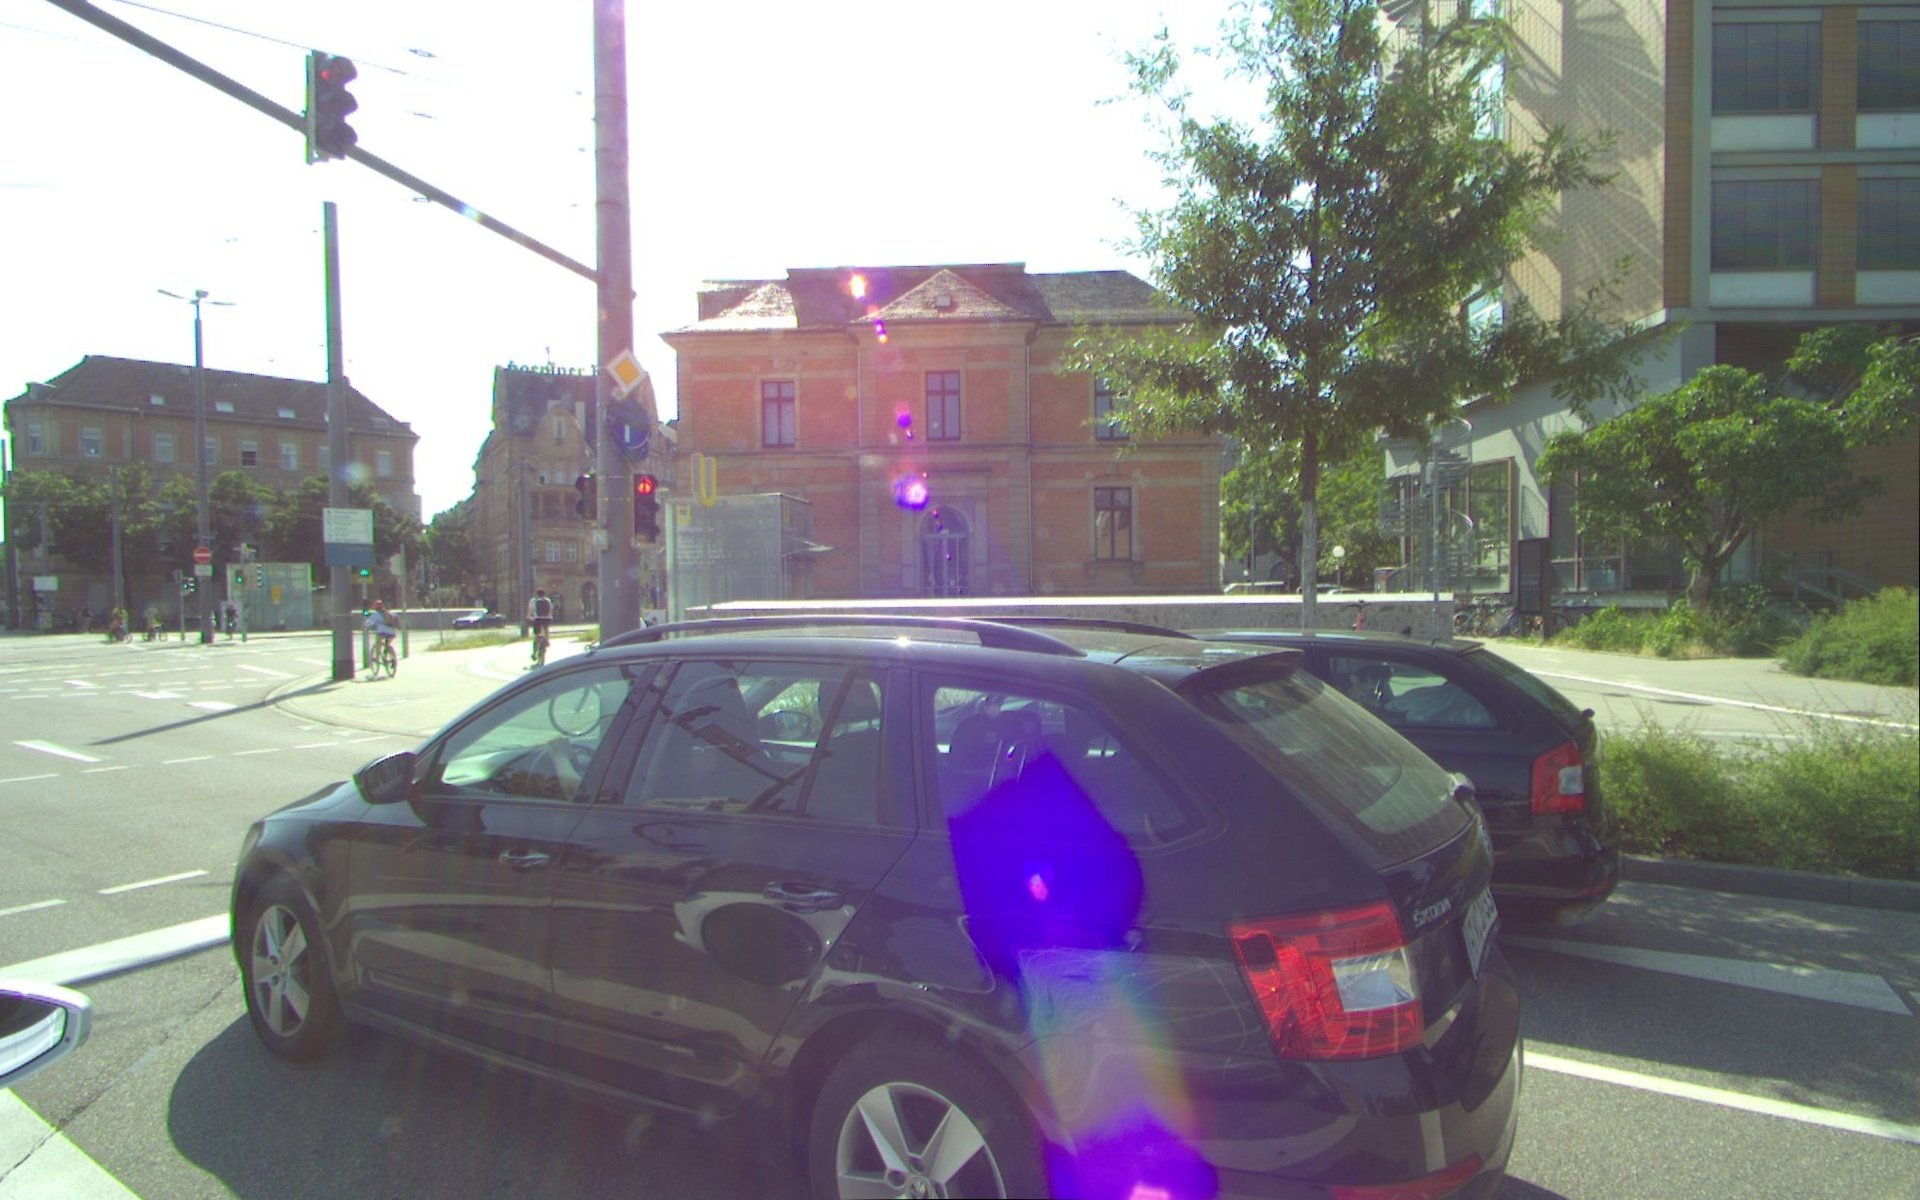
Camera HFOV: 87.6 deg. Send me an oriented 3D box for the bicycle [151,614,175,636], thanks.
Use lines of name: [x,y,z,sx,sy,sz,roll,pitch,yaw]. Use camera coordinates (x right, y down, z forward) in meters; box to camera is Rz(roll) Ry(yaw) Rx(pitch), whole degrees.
bicycle: [-40.774,1.294,51.274,0.919,1.083,2.819,1,-1,-38]

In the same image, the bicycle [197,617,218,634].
bicycle: [-40.063,1.338,53.288,1.567,0.877,0.498,0,-1,38]

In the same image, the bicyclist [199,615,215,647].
bicyclist: [-40.058,1.650,53.271,0.641,1.642,0.498,0,-1,38]

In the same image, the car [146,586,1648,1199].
car: [-0.668,0.770,3.287,4.710,1.454,1.628,-1,-1,31]

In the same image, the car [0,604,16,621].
car: [-117.336,1.506,122.843,2.094,2.040,3.962,-1,1,-43]

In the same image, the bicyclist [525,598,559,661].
bicyclist: [-10.227,0.734,24.485,0.706,1.507,0.946,1,-2,-27]

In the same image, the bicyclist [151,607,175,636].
bicyclist: [-40.831,1.097,51.327,0.919,1.470,1.242,1,-1,-38]

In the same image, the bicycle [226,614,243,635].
bicycle: [-38.935,1.322,53.745,0.660,1.083,2.447,1,-1,-35]

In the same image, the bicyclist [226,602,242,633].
bicyclist: [-38.700,0.925,53.410,0.660,1.645,0.777,1,0,-35]

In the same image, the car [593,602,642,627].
car: [-19.235,0.790,56.349,1.639,1.331,3.452,-1,0,-1]

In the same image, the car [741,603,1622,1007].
car: [1.018,0.788,5.595,4.331,1.449,1.697,0,3,30]

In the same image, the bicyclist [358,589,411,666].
bicyclist: [-13.158,0.613,22.899,0.864,1.692,0.710,0,3,40]

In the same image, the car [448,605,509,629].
car: [-33.122,1.171,68.975,1.608,1.604,3.997,-1,0,12]

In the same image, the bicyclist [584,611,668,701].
bicyclist: [-4.255,0.689,12.731,0.901,1.043,0.714,-3,2,-24]

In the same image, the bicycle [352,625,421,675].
bicycle: [-13.142,1.127,22.934,1.997,1.029,0.710,-1,3,41]

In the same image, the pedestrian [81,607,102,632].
pedestrian: [-50.773,1.129,58.546,0.699,1.451,0.614,0,-1,-5]

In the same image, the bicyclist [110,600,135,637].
bicyclist: [-42.163,0.953,50.404,0.920,1.843,1.042,1,-2,-43]

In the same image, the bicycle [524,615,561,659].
bicycle: [-10.223,0.905,24.463,0.705,1.028,2.013,1,-2,-26]

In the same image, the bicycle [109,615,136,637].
bicycle: [-42.286,1.347,50.537,0.920,1.083,2.721,1,-2,-43]

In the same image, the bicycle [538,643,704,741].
bicycle: [-4.298,1.135,12.716,1.887,1.029,0.714,-3,2,-24]
